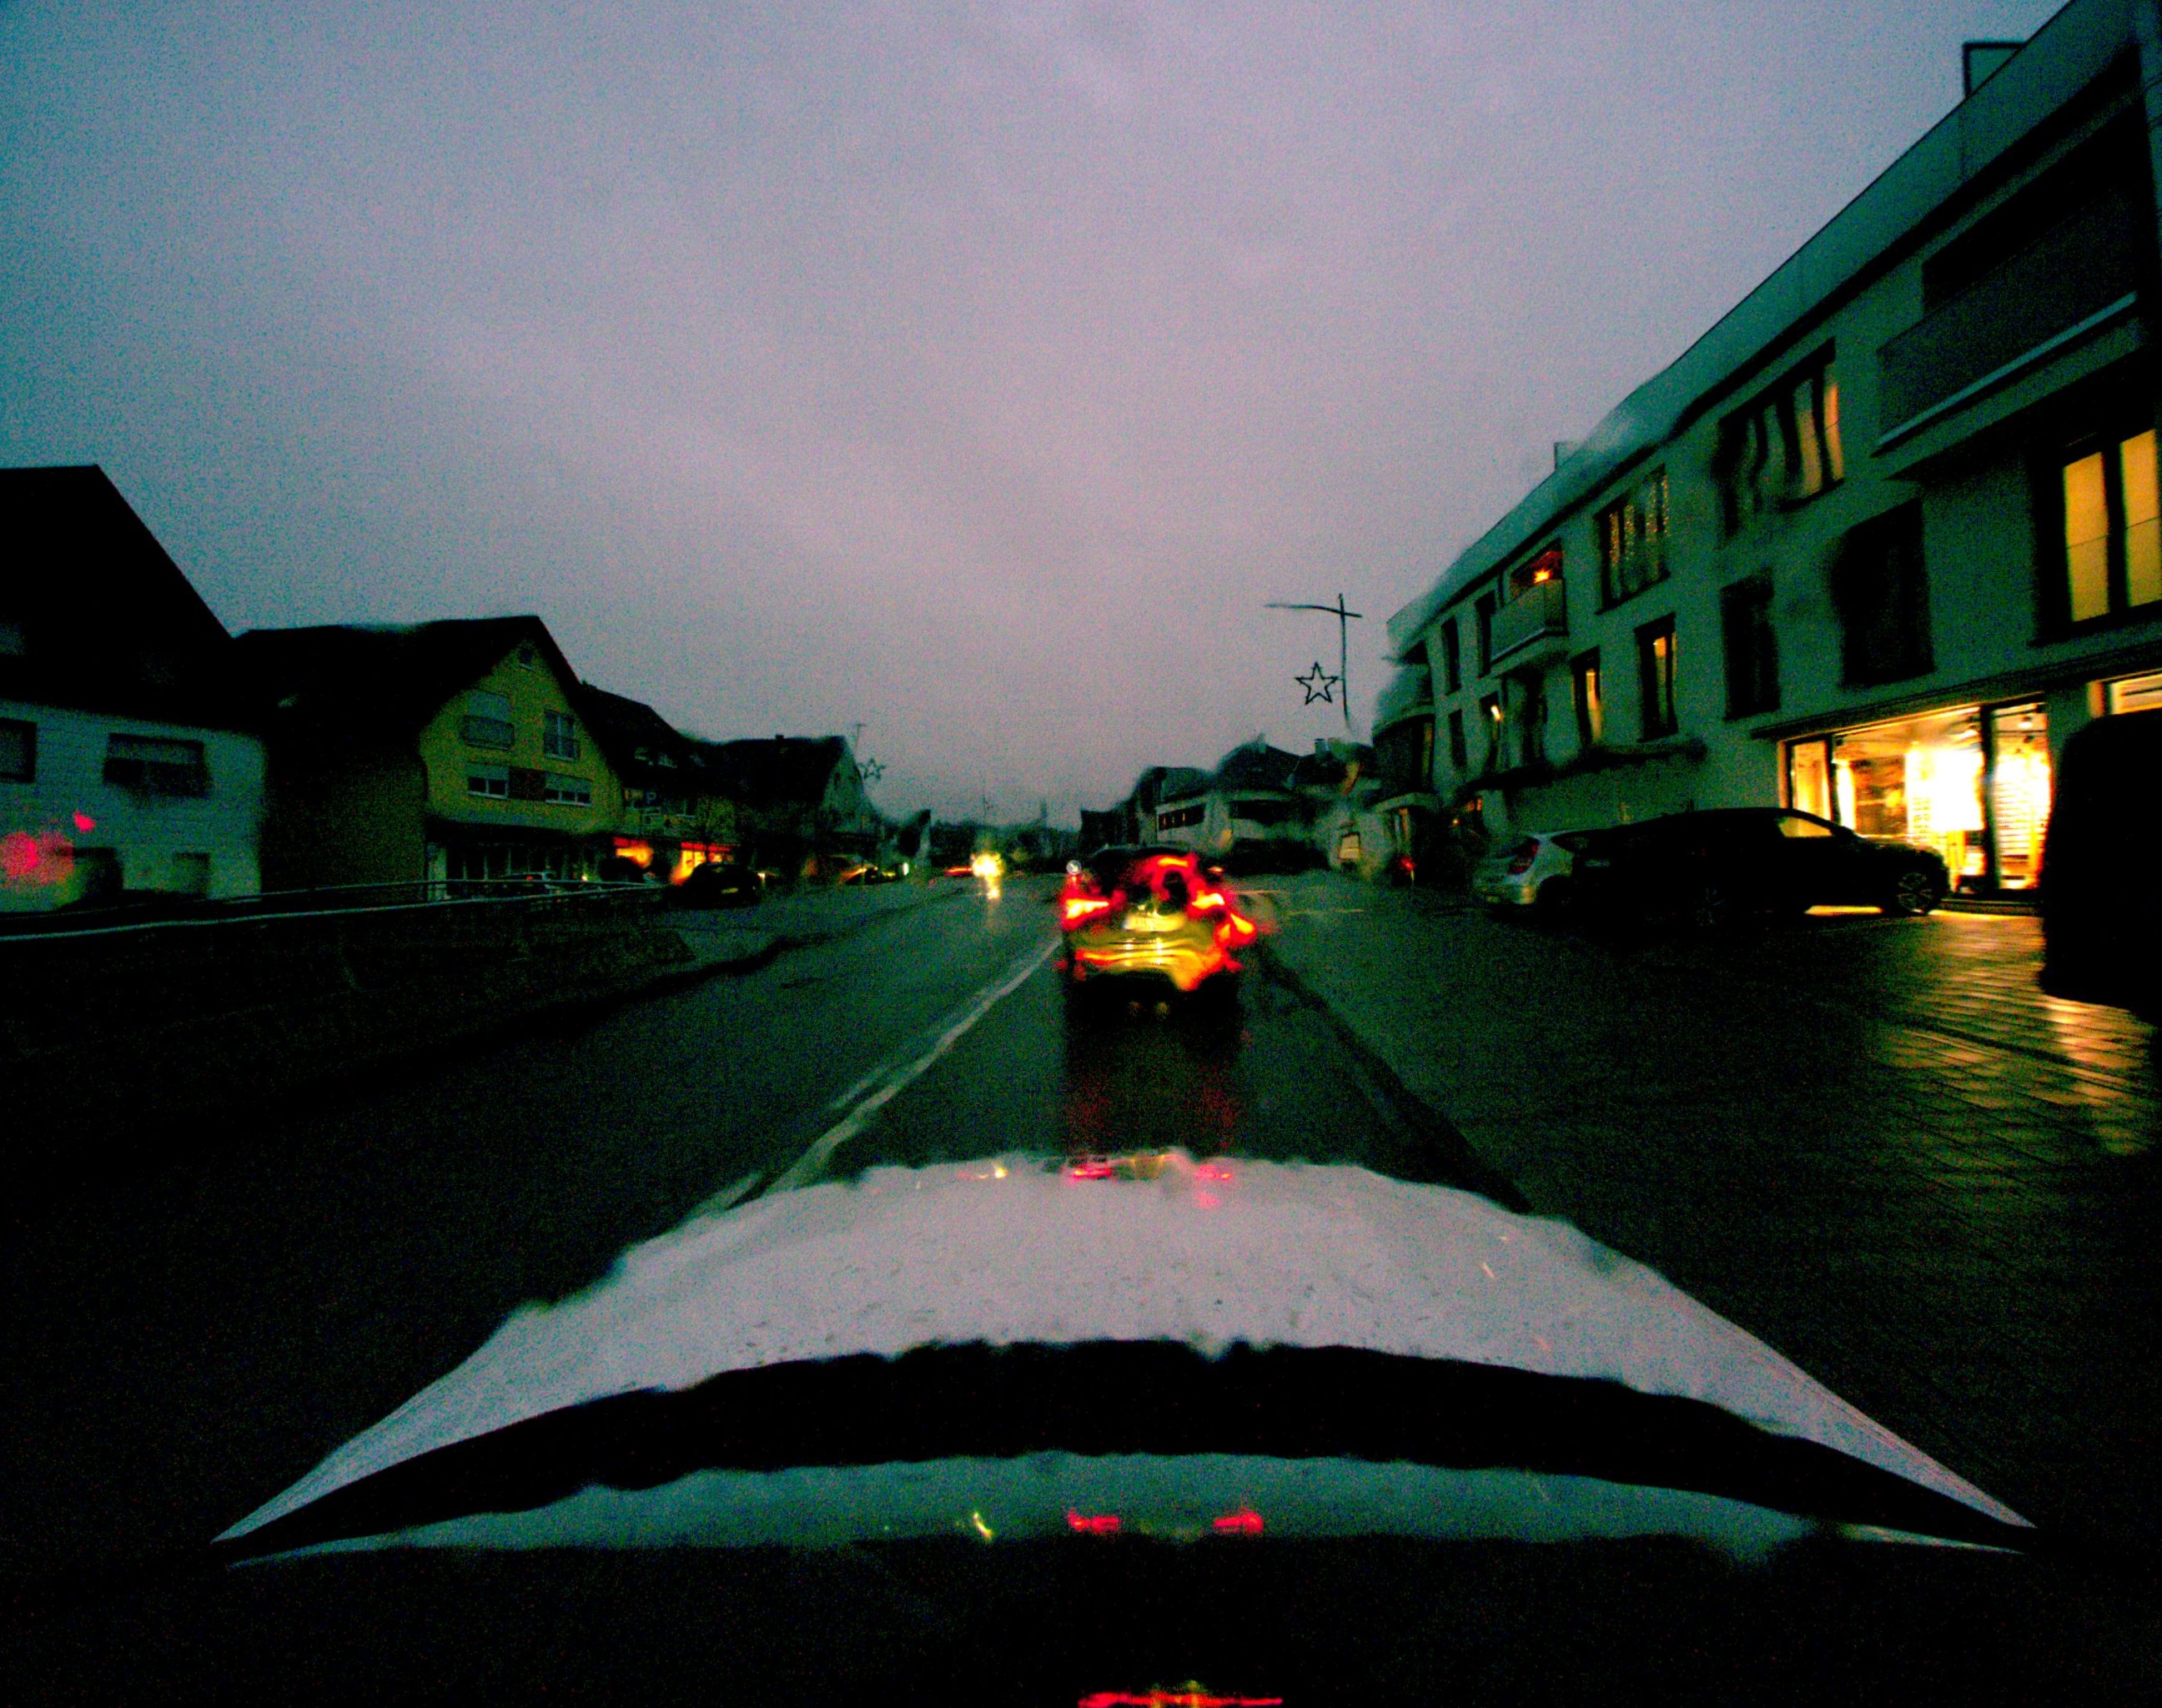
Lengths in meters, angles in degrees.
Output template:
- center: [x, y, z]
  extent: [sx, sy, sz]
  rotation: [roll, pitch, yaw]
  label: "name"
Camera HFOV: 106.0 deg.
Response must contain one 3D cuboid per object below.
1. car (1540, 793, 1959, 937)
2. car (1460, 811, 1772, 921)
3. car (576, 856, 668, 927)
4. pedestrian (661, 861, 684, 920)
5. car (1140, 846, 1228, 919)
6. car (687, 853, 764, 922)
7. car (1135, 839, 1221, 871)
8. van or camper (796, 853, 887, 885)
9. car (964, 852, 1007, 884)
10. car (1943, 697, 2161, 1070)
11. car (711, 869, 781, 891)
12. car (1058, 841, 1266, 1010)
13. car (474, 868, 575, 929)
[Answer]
- center: [8.781, 0.133, 10.943]
  extent: [4.196, 1.460, 1.791]
  rotation: [-4, -1, -4]
  label: "car"
- center: [9.087, 0.196, 14.059]
  extent: [4.196, 1.460, 1.791]
  rotation: [-4, -1, -4]
  label: "car"
- center: [-13.931, 1.069, 24.949]
  extent: [2.047, 1.925, 4.024]
  rotation: [-2, 0, -24]
  label: "car"
- center: [-12.114, 1.073, 24.180]
  extent: [0.498, 1.701, 0.707]
  rotation: [-3, 0, -24]
  label: "pedestrian"
- center: [2.199, 0.567, 18.294]
  extent: [1.675, 1.453, 4.003]
  rotation: [0, 0, 3]
  label: "car"
- center: [-11.314, 1.003, 25.910]
  extent: [2.047, 1.925, 4.024]
  rotation: [-2, 0, -24]
  label: "car"
- center: [4.903, 0.055, 41.453]
  extent: [3.984, 1.418, 1.995]
  rotation: [-3, -1, -8]
  label: "car"
- center: [-15.905, 0.996, 54.076]
  extent: [5.488, 1.954, 2.009]
  rotation: [-2, 0, 16]
  label: "van or camper"
- center: [-6.842, 0.976, 58.852]
  extent: [1.983, 2.204, 4.426]
  rotation: [0, -1, 7]
  label: "car"
- center: [7.767, -0.107, 4.105]
  extent: [4.547, 1.920, 1.950]
  rotation: [-7, -1, 1]
  label: "car"
- center: [-22.969, 1.774, 55.922]
  extent: [3.975, 1.365, 1.726]
  rotation: [-2, 0, -1]
  label: "car"
- center: [0.887, 0.677, 9.878]
  extent: [1.956, 1.594, 4.317]
  rotation: [0, 0, 3]
  label: "car"
- center: [-16.837, 1.286, 24.848]
  extent: [1.830, 1.613, 4.024]
  rotation: [-2, 0, -24]
  label: "car"
